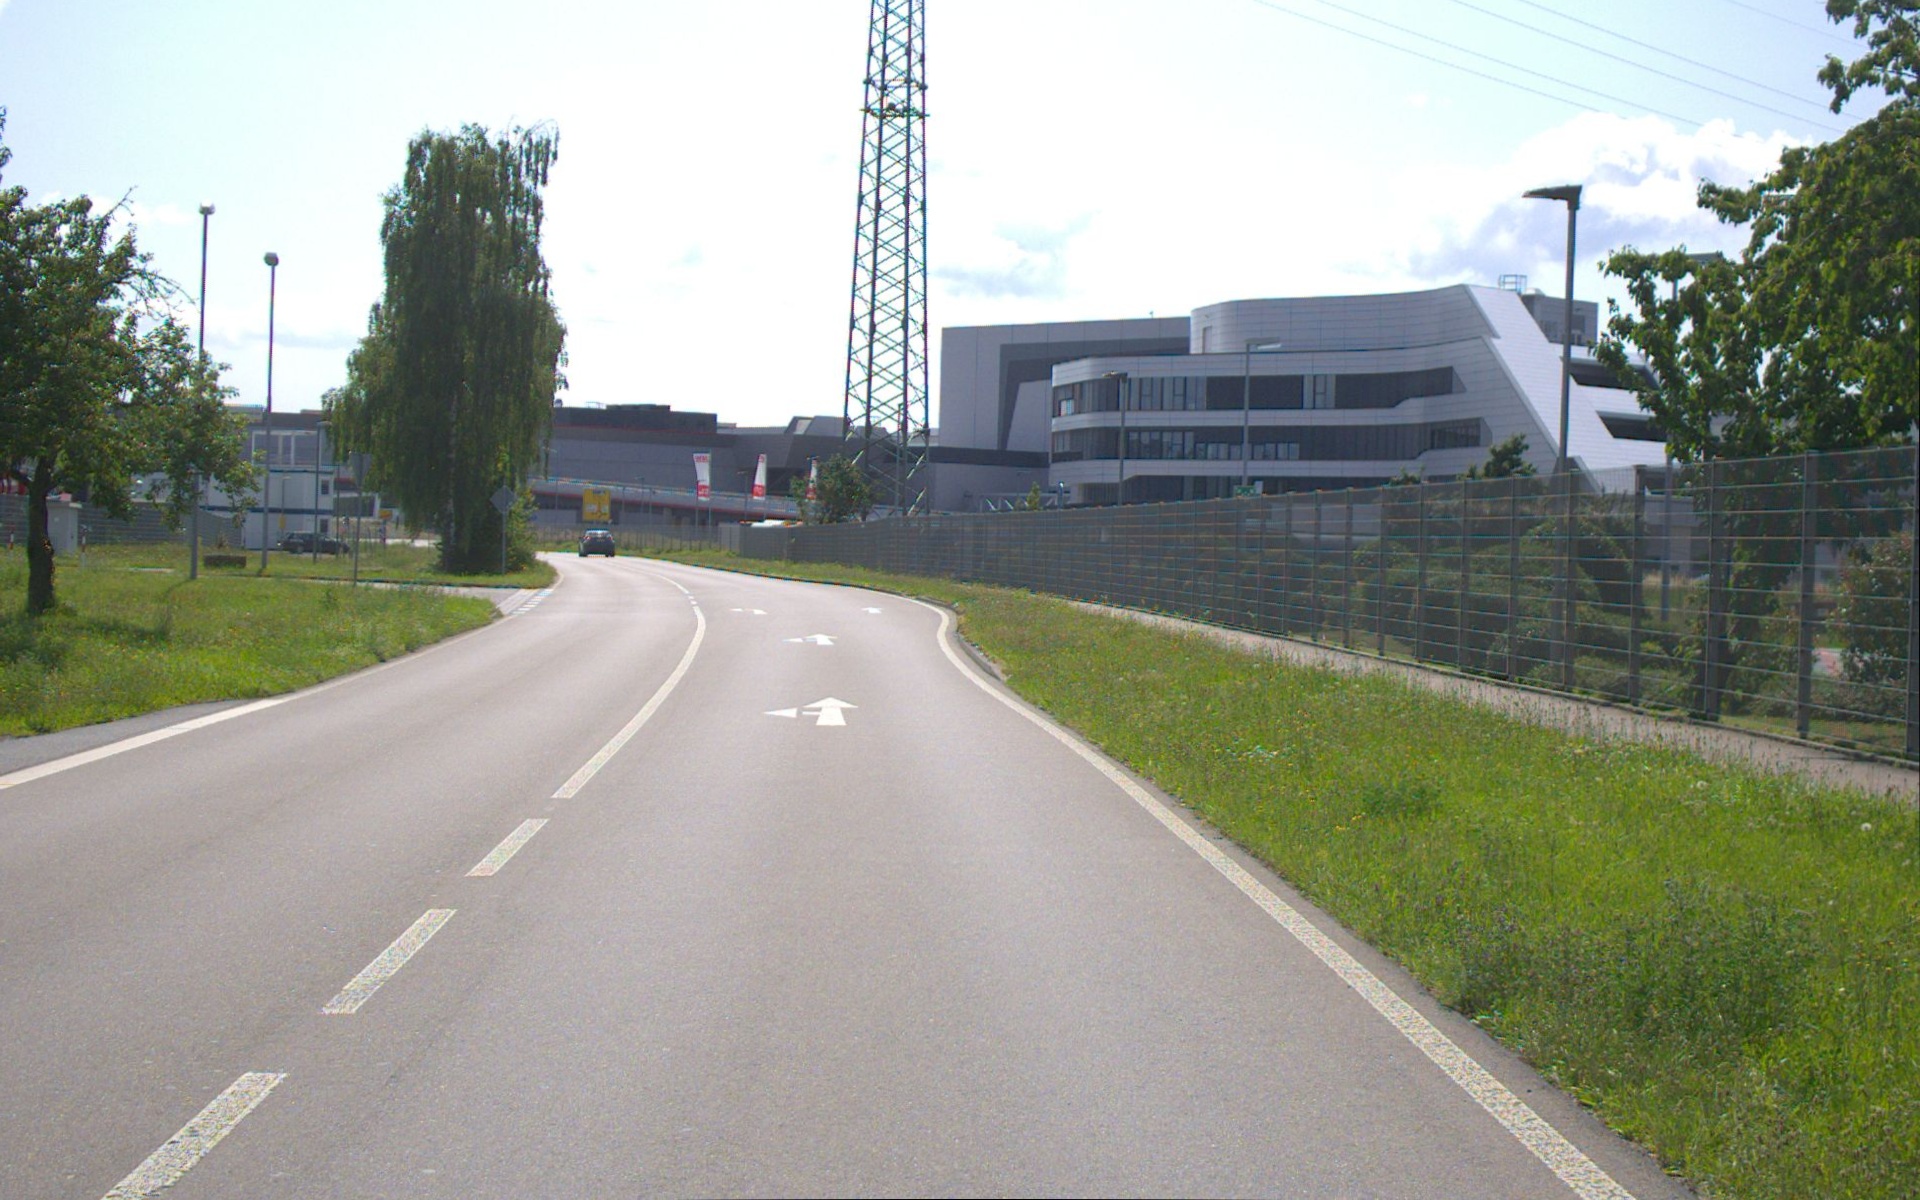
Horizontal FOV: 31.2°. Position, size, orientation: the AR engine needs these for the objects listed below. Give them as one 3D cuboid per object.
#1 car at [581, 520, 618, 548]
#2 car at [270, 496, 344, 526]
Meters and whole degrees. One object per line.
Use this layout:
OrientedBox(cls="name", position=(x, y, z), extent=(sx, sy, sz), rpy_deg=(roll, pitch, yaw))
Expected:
OrientedBox(cls="car", position=(-20.989, -3.843, 200.356), extent=(2.012, 1.503, 4.001), rpy_deg=(2, 1, -4))
OrientedBox(cls="car", position=(-36.544, -4.978, 192.396), extent=(3.986, 1.568, 2.001), rpy_deg=(1, 1, -9))
